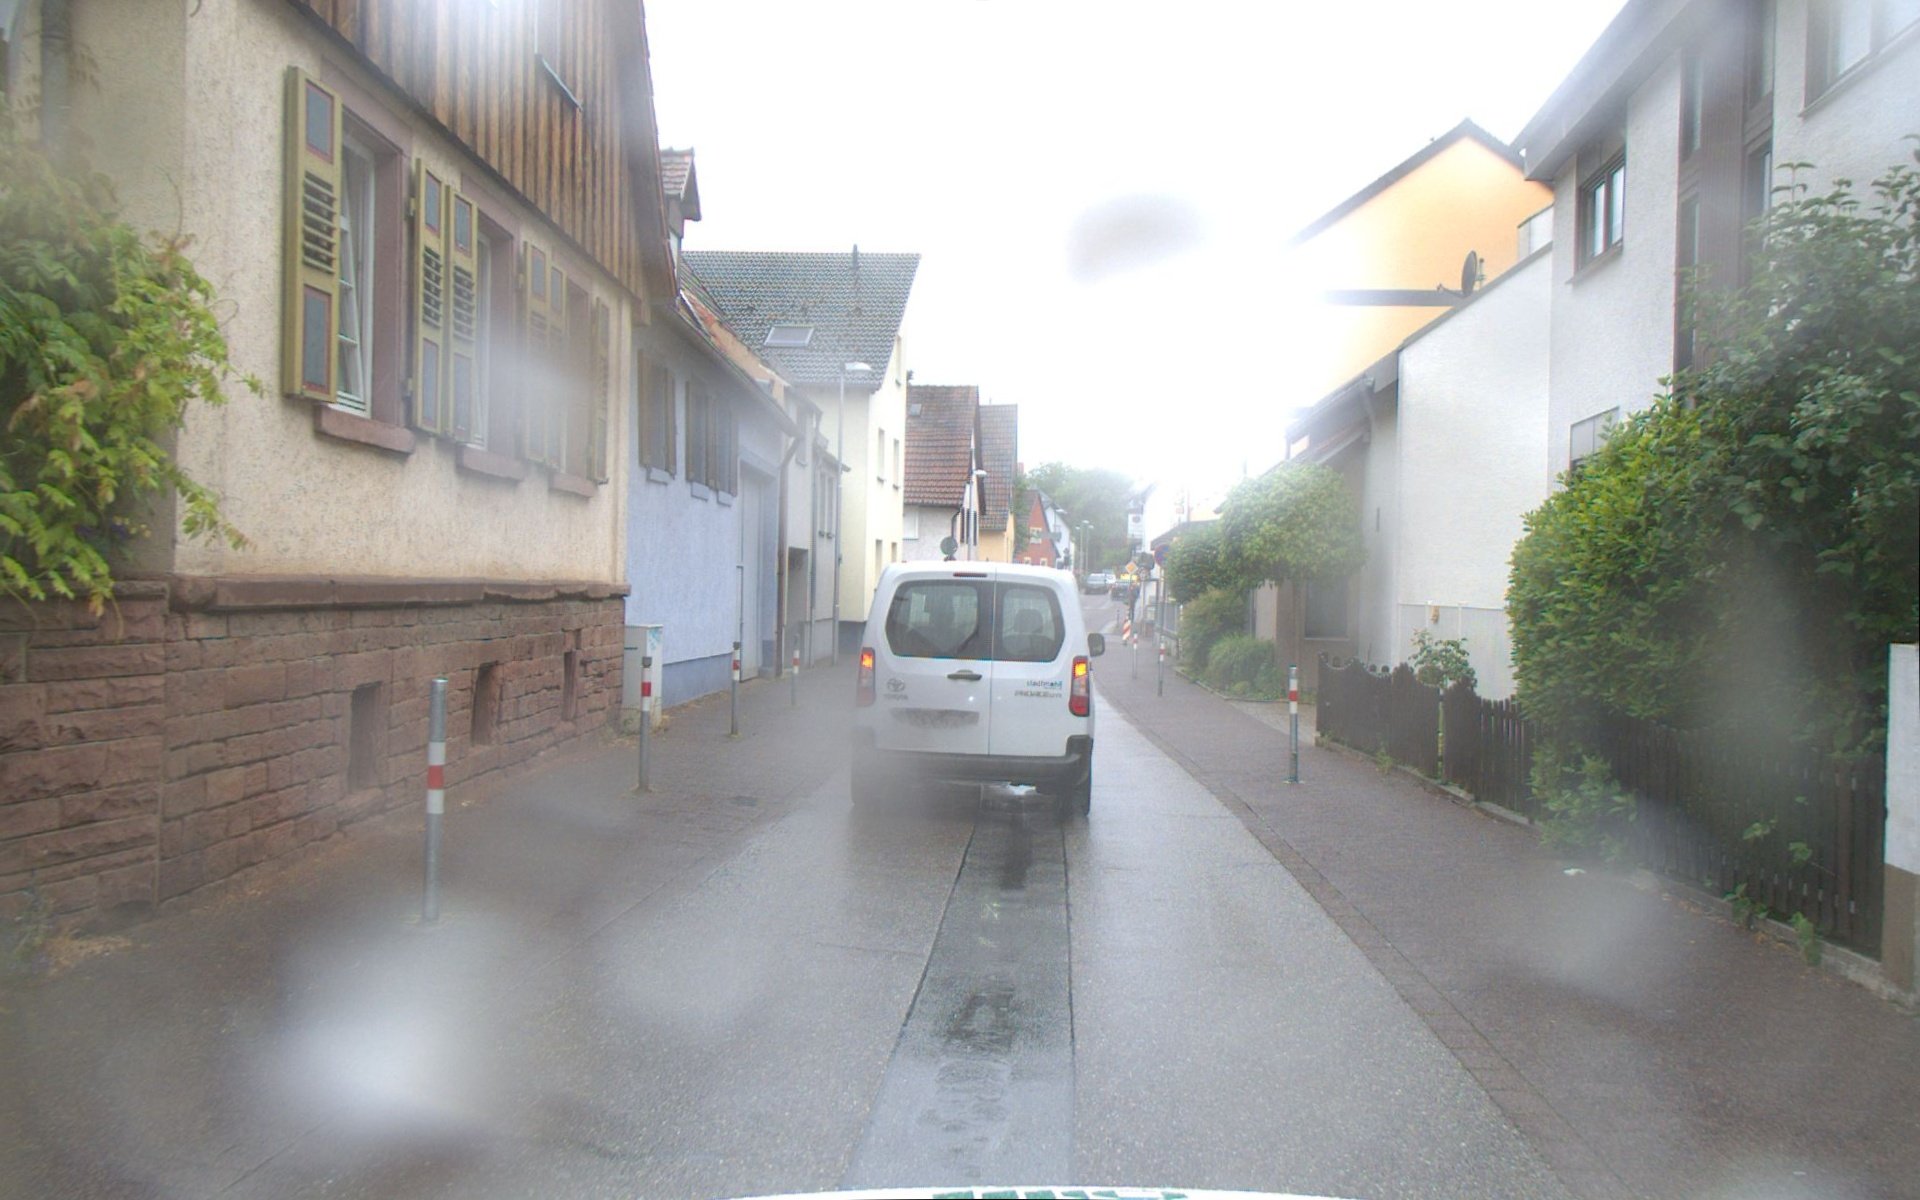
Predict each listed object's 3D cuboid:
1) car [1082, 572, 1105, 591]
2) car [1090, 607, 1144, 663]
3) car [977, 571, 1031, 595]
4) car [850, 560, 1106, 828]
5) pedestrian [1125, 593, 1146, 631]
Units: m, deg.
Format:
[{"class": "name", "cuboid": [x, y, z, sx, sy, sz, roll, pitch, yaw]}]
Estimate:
[{"class": "car", "cuboid": [11.590, -1.602, 143.194, 1.555, 1.466, 3.769, 3, 0, 10]}, {"class": "car", "cuboid": [5.989, 1.311, 63.040, 1.951, 2.049, 4.003, 0, 0, 6]}, {"class": "car", "cuboid": [3.160, -1.215, 119.648, 3.371, 1.586, 1.988, -3, 2, -21]}, {"class": "car", "cuboid": [0.236, 0.642, 13.275, 1.737, 1.811, 4.002, 0, 0, 3]}, {"class": "pedestrian", "cuboid": [8.939, 0.606, 84.185, 1.029, 1.926, 0.877, 0, 0, 2]}]
